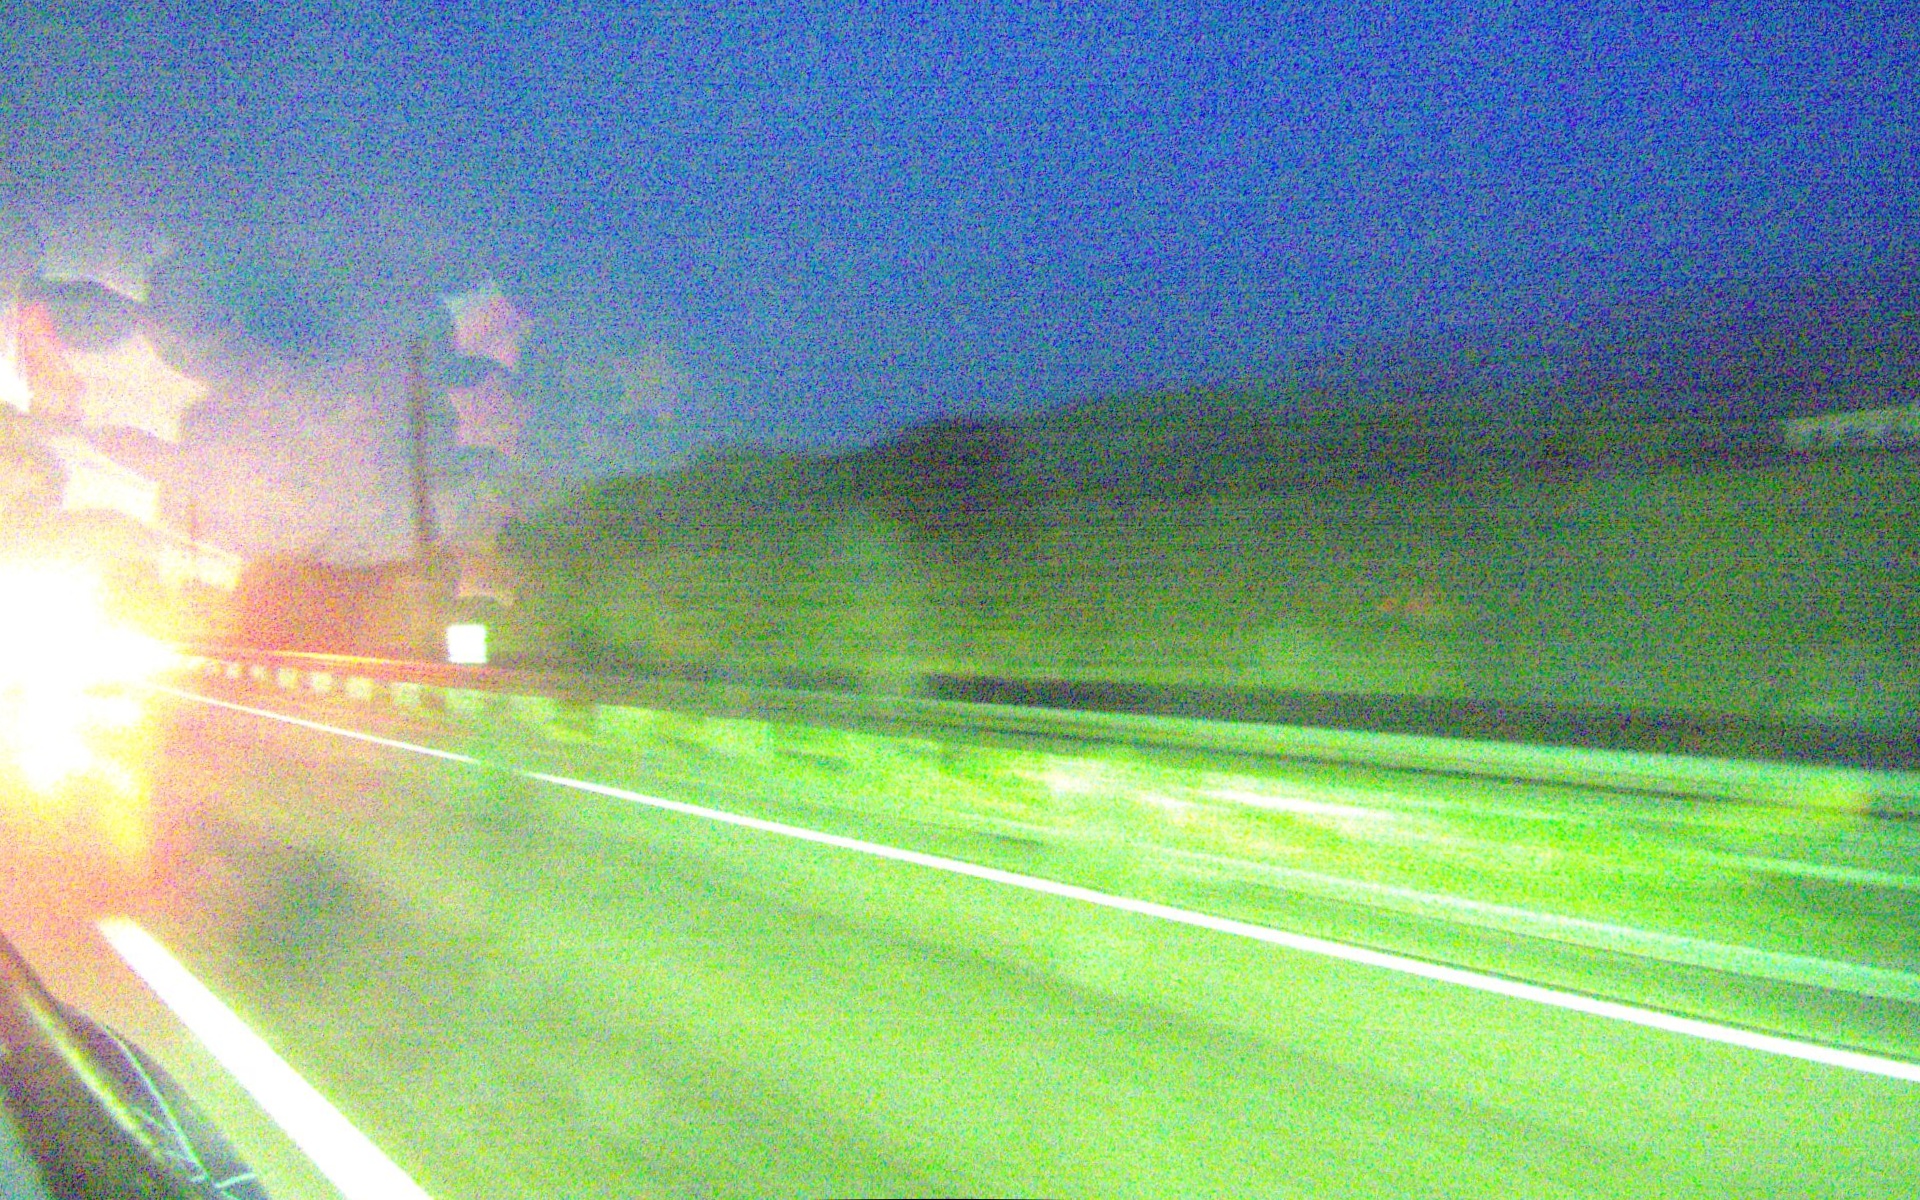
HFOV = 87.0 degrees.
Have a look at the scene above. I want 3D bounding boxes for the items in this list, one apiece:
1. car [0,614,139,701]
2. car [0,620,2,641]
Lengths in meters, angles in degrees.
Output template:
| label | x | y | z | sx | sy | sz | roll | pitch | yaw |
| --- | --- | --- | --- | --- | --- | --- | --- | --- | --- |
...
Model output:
| label | x | y | z | sx | sy | sz | roll | pitch | yaw |
| --- | --- | --- | --- | --- | --- | --- | --- | --- | --- |
| car | -17.564 | 1.051 | 19.851 | 3.682 | 1.517 | 1.684 | -1 | 0 | 41 |
| car | -75.371 | 2.384 | 78.149 | 3.734 | 1.646 | 1.724 | -2 | -1 | 41 |
